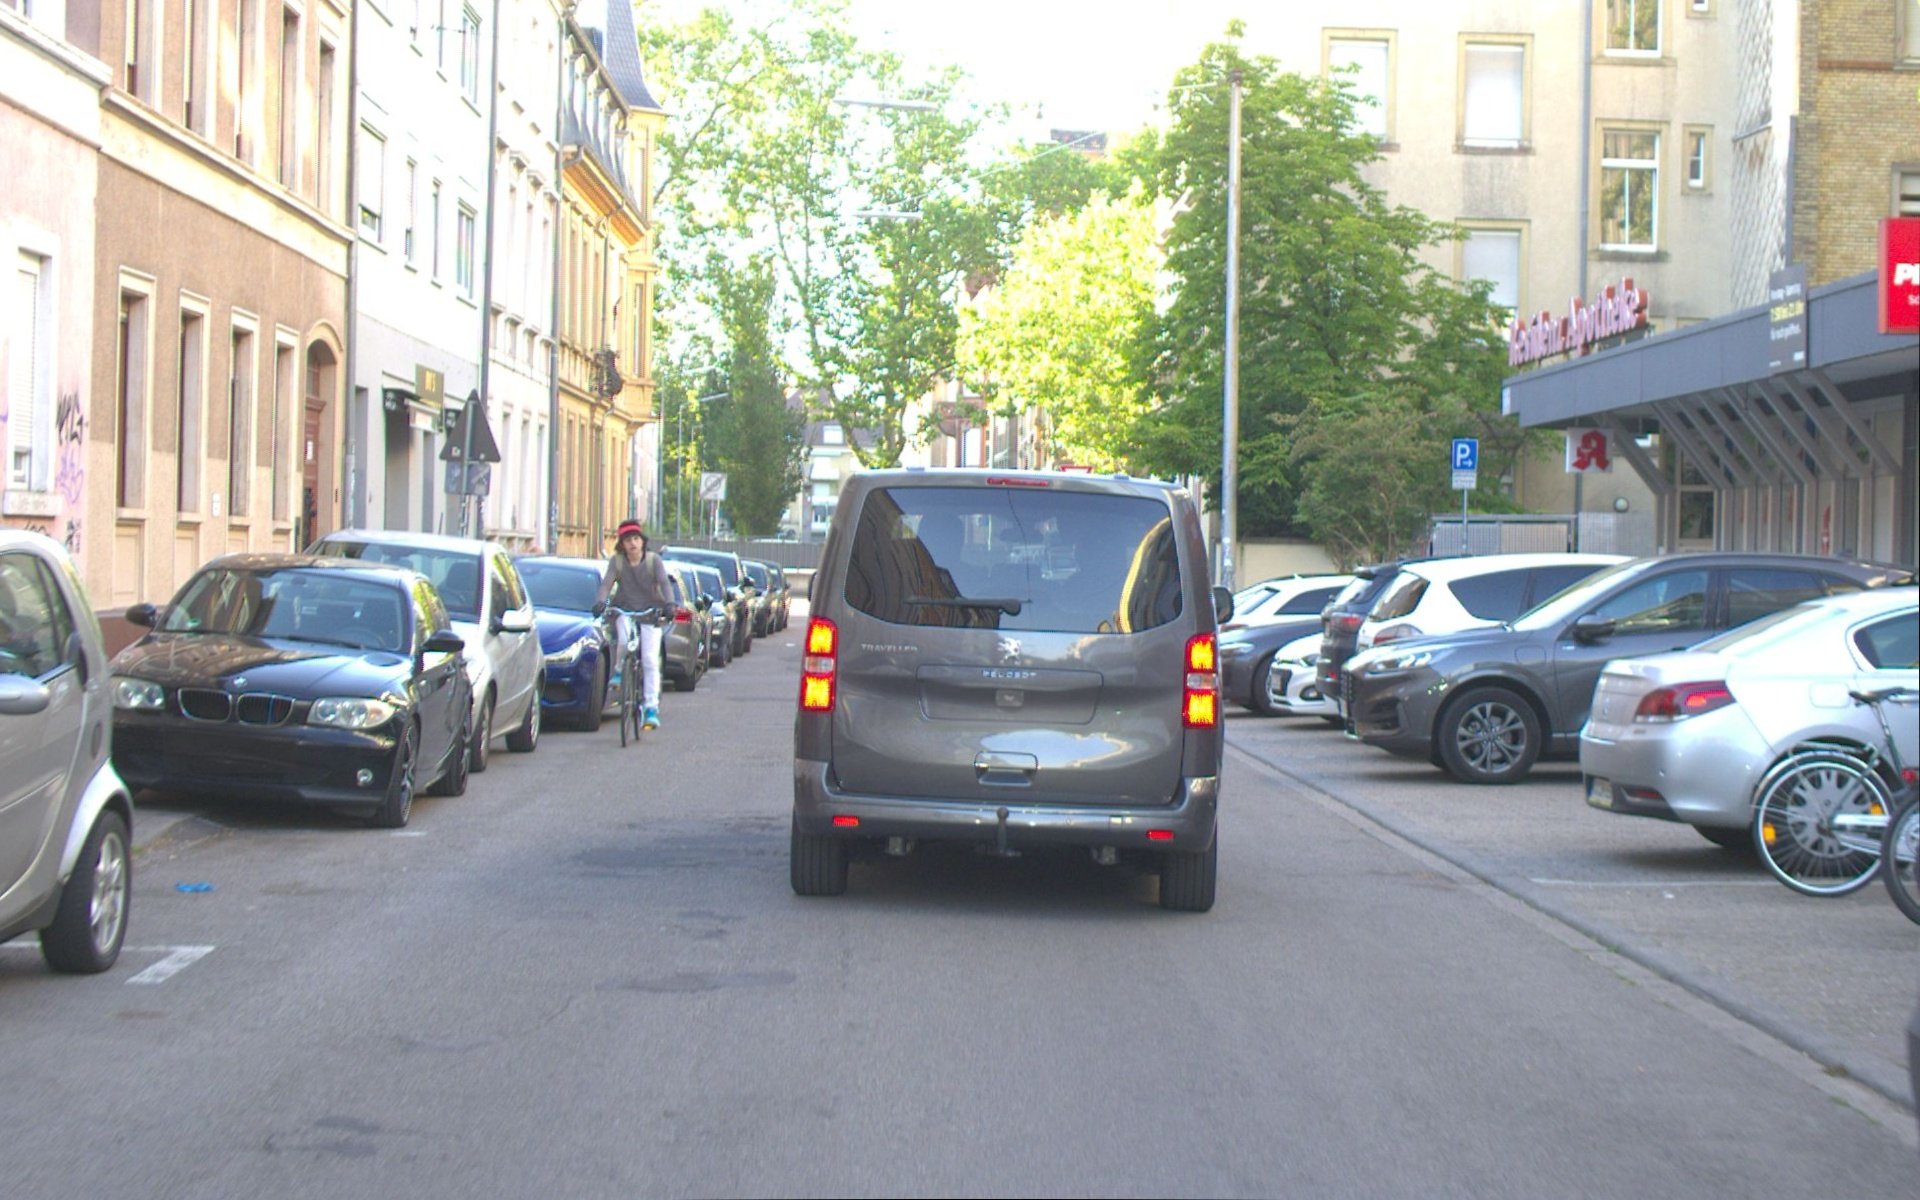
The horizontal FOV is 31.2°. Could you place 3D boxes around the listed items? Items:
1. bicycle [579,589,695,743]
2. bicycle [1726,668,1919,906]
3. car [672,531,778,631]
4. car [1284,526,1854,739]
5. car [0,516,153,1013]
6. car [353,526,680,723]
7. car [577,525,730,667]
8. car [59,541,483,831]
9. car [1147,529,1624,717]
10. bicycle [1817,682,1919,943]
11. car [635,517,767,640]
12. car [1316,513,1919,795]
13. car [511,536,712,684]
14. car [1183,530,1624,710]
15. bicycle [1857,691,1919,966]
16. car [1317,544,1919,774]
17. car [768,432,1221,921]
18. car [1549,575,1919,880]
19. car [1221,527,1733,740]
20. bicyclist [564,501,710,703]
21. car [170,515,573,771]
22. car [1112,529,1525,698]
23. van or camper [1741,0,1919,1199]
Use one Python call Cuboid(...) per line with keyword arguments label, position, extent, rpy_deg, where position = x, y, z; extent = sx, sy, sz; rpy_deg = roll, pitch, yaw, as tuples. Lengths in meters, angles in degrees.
Cuboid(label="bicycle", position=(-2.559, 0.499, 27.421), extent=(0.621, 1.134, 2.257), rpy_deg=(1, 1, 2))
Cuboid(label="bicycle", position=(4.638, 0.877, 16.202), extent=(1.899, 1.063, 0.678), rpy_deg=(1, 1, 3))
Cuboid(label="car", position=(-4.708, -0.415, 68.782), extent=(1.993, 1.852, 4.586), rpy_deg=(2, 1, -4))
Cuboid(label="car", position=(5.384, 0.270, 30.720), extent=(4.568, 1.699, 2.001), rpy_deg=(2, 1, -8))
Cuboid(label="car", position=(-3.622, 0.483, 10.847), extent=(1.386, 1.526, 2.749), rpy_deg=(2, 1, 2))
Cuboid(label="car", position=(-3.850, 0.161, 30.632), extent=(1.994, 1.555, 4.584), rpy_deg=(2, 1, 4))
Cuboid(label="car", position=(-4.309, -0.097, 48.828), extent=(1.993, 1.852, 4.586), rpy_deg=(2, 1, -4))
Cuboid(label="car", position=(-3.829, 0.407, 19.821), extent=(1.788, 1.393, 4.468), rpy_deg=(3, 1, -4))
Cuboid(label="car", position=(4.439, 0.223, 36.231), extent=(4.568, 1.786, 2.001), rpy_deg=(2, 1, -8))
Cuboid(label="bicycle", position=(4.765, 0.891, 14.610), extent=(2.041, 1.045, 0.725), rpy_deg=(1, 1, -6))
Cuboid(label="car", position=(-4.205, -0.379, 56.005), extent=(1.993, 1.852, 4.586), rpy_deg=(2, 1, -4))
Cuboid(label="car", position=(5.056, 0.372, 25.232), extent=(4.569, 1.852, 2.000), rpy_deg=(2, 1, -2))
Cuboid(label="car", position=(-4.009, 0.070, 40.241), extent=(2.144, 1.555, 4.586), rpy_deg=(2, 1, -4))
Cuboid(label="car", position=(5.016, 0.212, 39.217), extent=(4.568, 1.852, 2.001), rpy_deg=(2, 1, -8))
Cuboid(label="bicycle", position=(4.733, 0.911, 13.820), extent=(2.040, 1.045, 0.725), rpy_deg=(0, 1, -7))
Cuboid(label="car", position=(5.317, 0.457, 28.025), extent=(4.454, 1.670, 1.797), rpy_deg=(2, 1, -6))
Cuboid(label="car", position=(0.159, 0.275, 16.172), extent=(1.857, 2.007, 4.000), rpy_deg=(0, 1, 0))
Cuboid(label="car", position=(5.595, 0.604, 18.106), extent=(4.625, 1.461, 1.841), rpy_deg=(-1, 1, -1))
Cuboid(label="car", position=(4.939, 0.305, 33.158), extent=(4.472, 1.852, 1.885), rpy_deg=(2, 1, -8))
Cuboid(label="bicyclist", position=(-2.561, 0.007, 27.342), extent=(1.034, 1.572, 0.833), rpy_deg=(1, 1, 3))
Cuboid(label="car", position=(-4.099, 0.240, 24.728), extent=(1.993, 1.599, 4.585), rpy_deg=(2, 1, 1))
Cuboid(label="car", position=(4.298, 0.145, 41.636), extent=(4.568, 1.852, 2.001), rpy_deg=(2, 1, -8))
Cuboid(label="van or camper", position=(2.983, 0.204, 4.020), extent=(2.099, 2.593, 7.513), rpy_deg=(0, 1, -3))
